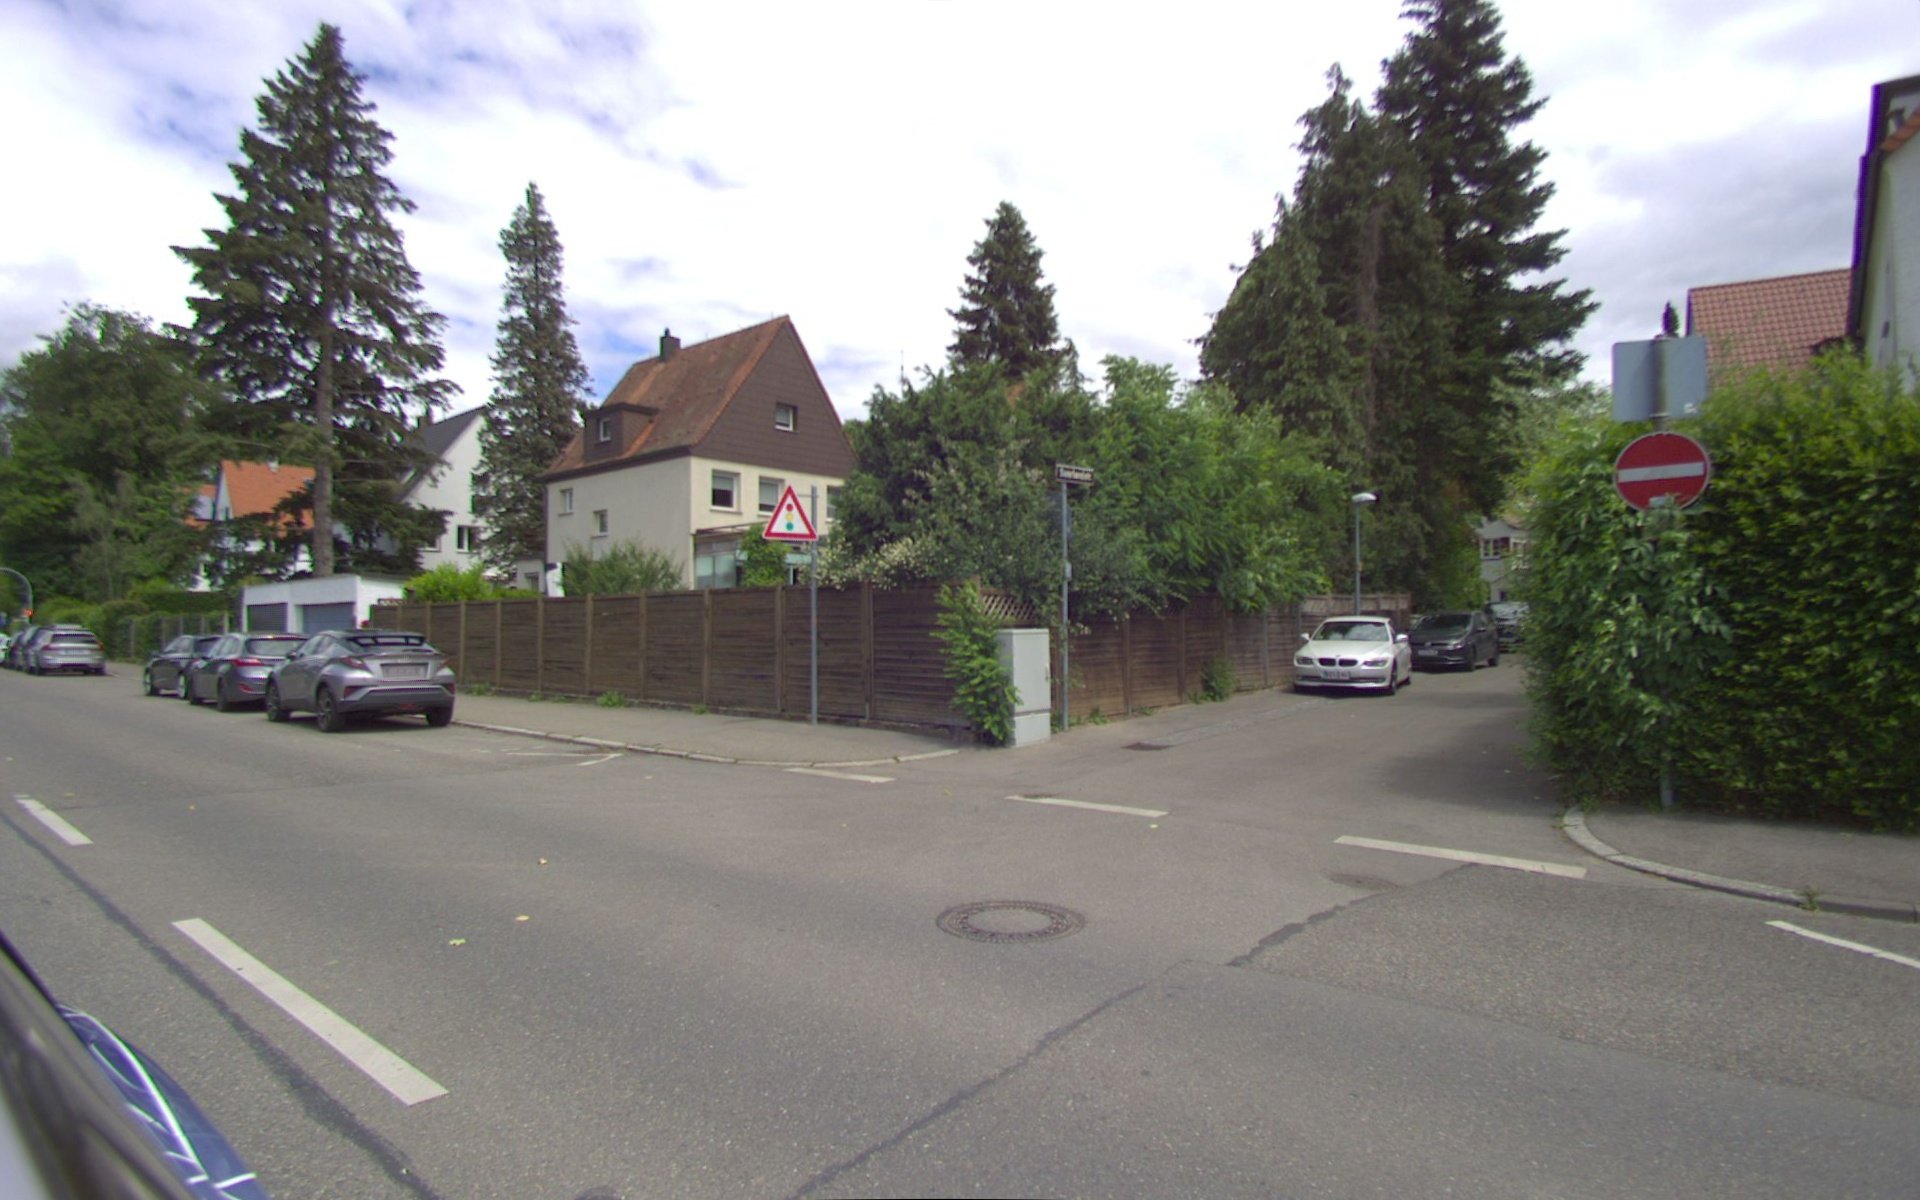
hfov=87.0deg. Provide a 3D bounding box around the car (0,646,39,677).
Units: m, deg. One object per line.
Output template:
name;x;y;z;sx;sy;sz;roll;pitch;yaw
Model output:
car;-46.949;3.038;50.058;5.071;1.470;1.785;-3;-4;45

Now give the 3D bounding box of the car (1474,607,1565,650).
car;19.159;0.988;34.575;1.998;1.382;3.947;-2;-3;40

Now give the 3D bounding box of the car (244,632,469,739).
car;-9.913;1.286;16.461;4.648;1.491;1.971;-2;-3;44

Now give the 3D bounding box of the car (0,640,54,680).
car;-42.132;2.690;45.474;4.583;1.691;1.608;-3;-5;43

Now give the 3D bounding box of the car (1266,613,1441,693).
car;7.652;0.974;19.480;1.998;1.382;3.947;-2;-3;40

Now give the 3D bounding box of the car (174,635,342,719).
car;-14.034;1.446;20.136;4.489;1.470;1.846;-2;-2;43

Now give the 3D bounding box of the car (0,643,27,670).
car;-51.029;3.000;53.907;1.723;1.421;4.325;3;-4;-45

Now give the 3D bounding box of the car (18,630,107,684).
car;-33.036;2.064;37.210;4.707;1.833;1.963;-3;-3;42

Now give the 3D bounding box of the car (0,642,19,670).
car;-55.044;3.184;57.811;1.683;1.555;3.744;3;-4;-45

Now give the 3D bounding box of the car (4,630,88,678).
car;-37.567;2.175;41.555;4.882;1.768;2.045;-2;-1;42

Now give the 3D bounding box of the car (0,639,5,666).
car;-65.932;3.538;68.404;4.608;1.772;1.658;-3;-4;43

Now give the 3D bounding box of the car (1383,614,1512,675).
car;12.193;1.085;25.193;1.998;1.382;3.947;-2;-3;40

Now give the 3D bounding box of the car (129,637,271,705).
car;-17.649;1.612;23.465;3.900;1.438;1.635;-3;-4;38
